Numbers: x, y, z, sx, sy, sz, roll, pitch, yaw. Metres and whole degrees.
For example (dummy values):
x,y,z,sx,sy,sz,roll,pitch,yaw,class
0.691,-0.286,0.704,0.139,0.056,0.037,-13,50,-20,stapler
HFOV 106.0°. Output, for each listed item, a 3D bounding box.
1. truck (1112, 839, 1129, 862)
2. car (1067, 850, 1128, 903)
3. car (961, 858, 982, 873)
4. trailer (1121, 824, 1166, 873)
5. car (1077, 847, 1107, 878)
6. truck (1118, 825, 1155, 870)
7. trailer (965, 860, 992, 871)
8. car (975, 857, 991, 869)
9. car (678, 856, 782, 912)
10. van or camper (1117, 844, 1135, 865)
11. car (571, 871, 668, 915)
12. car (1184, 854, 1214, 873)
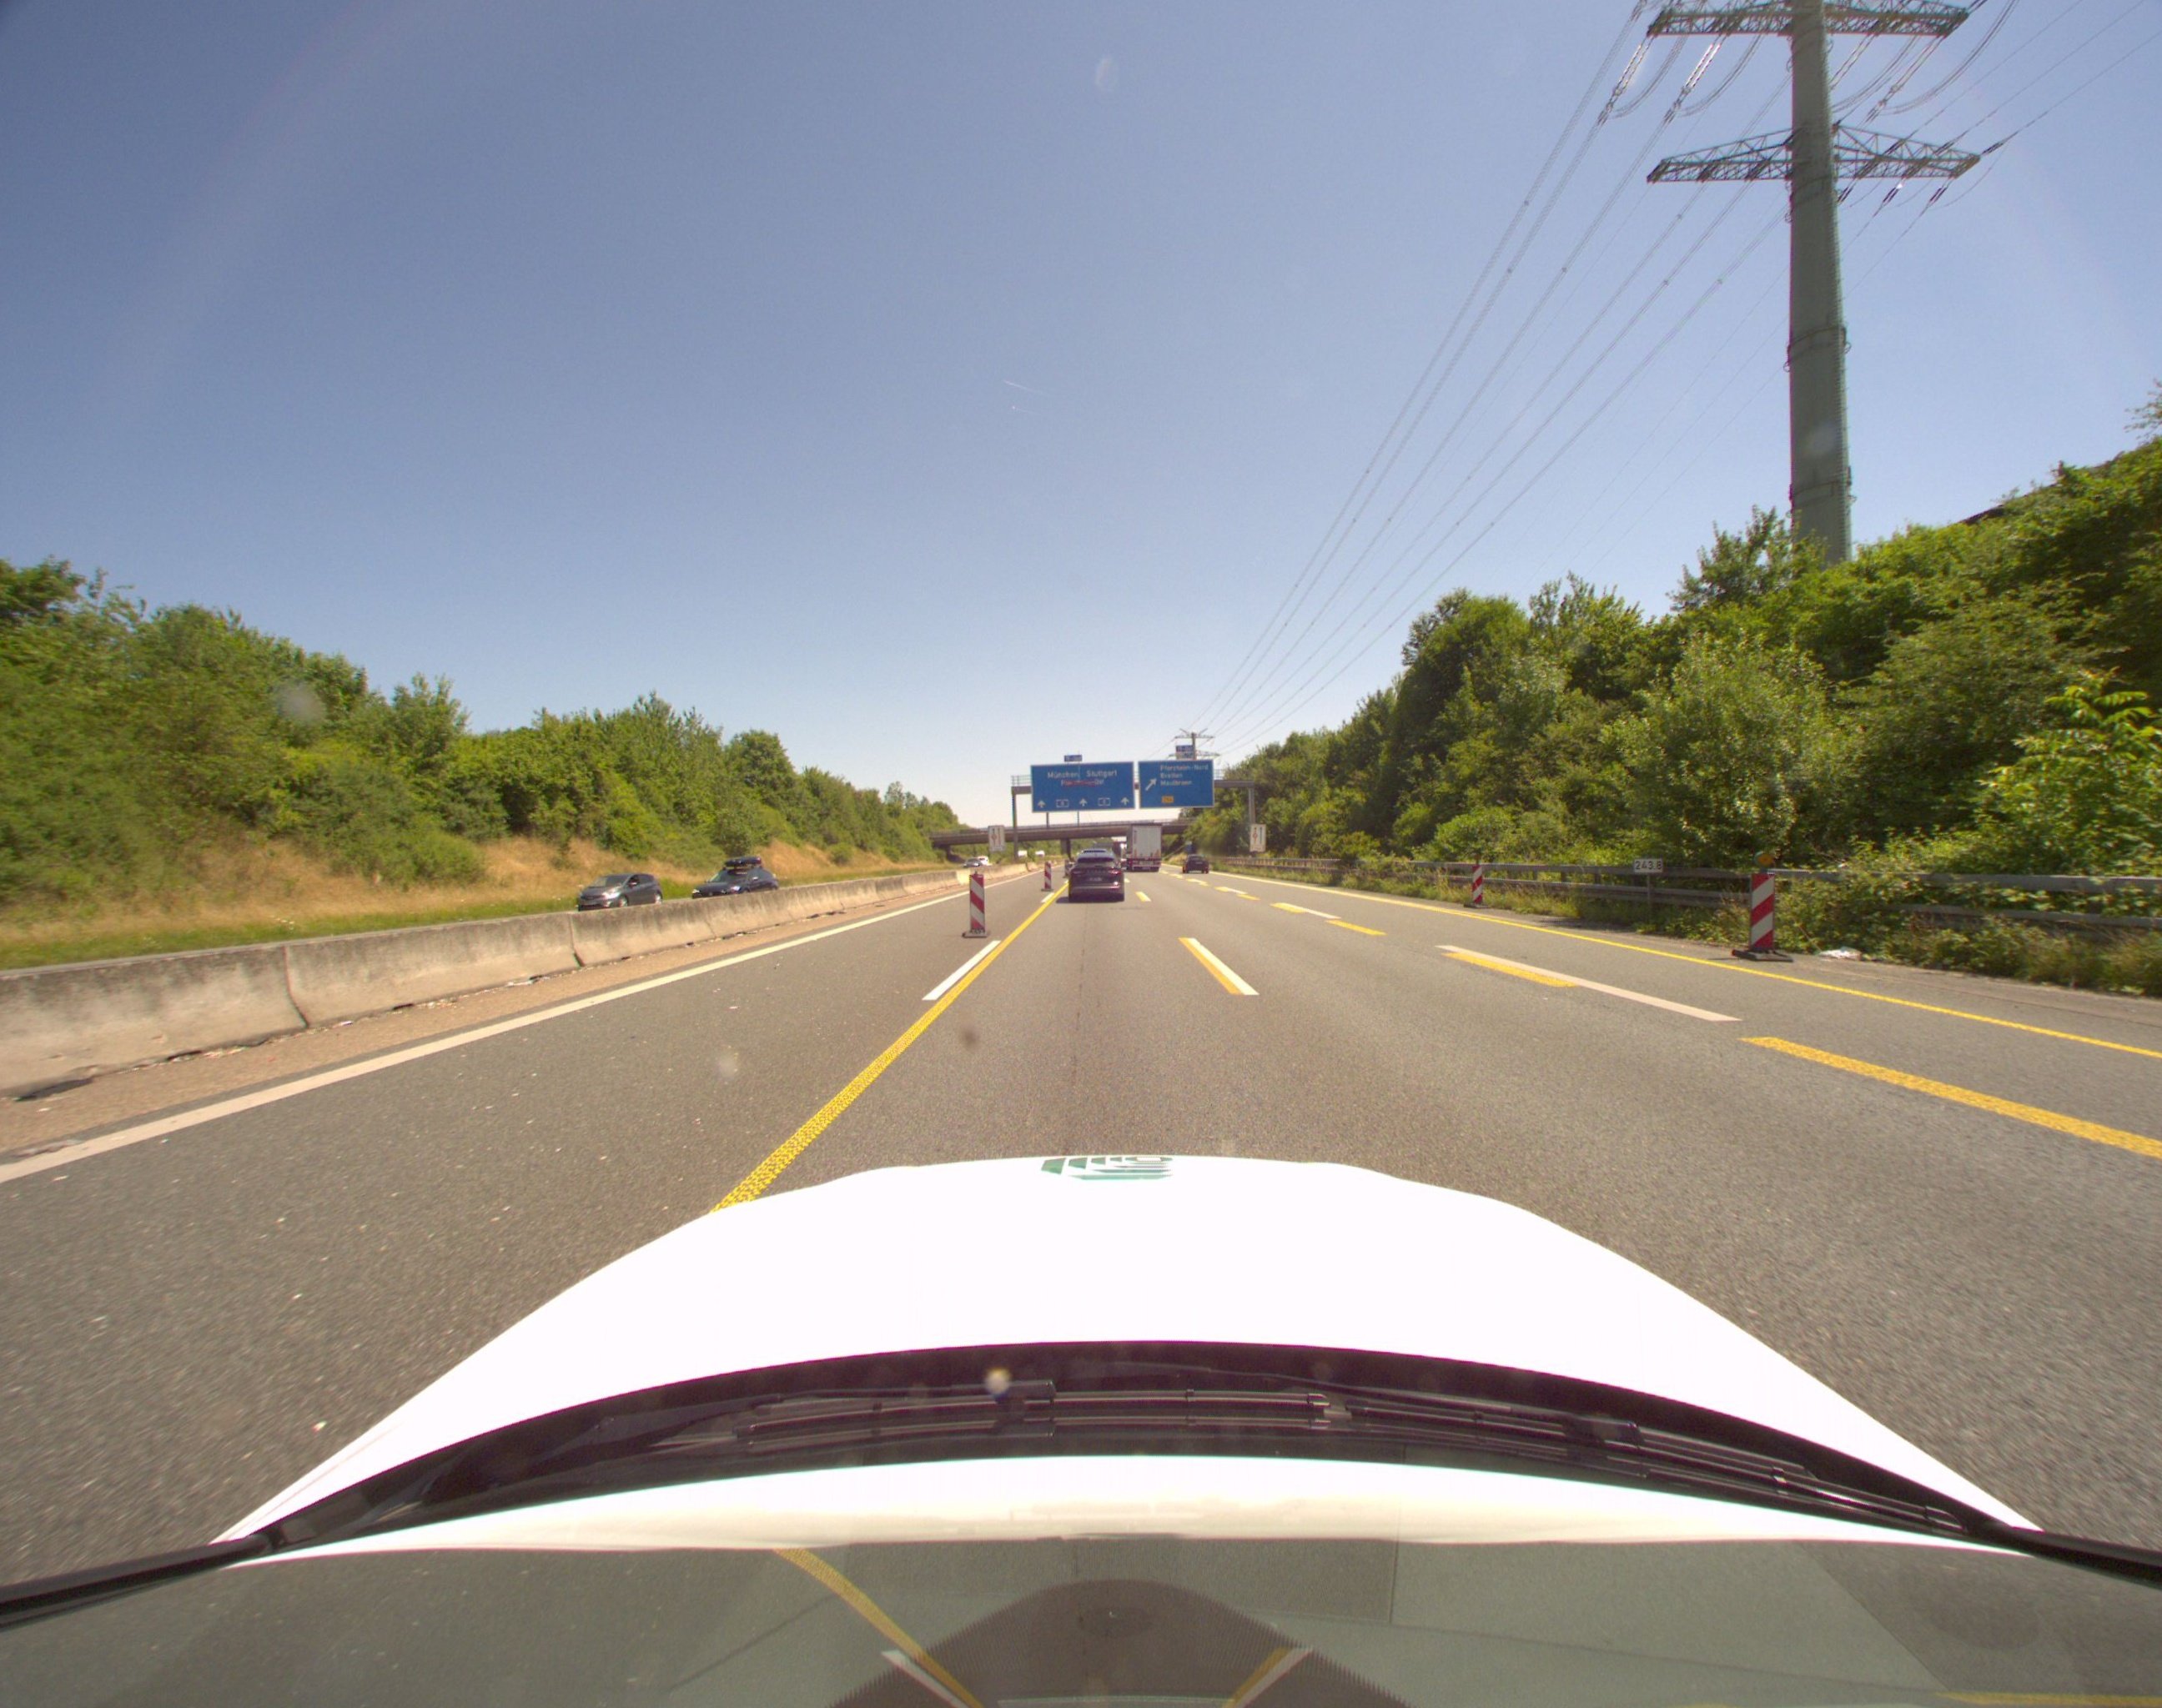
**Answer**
x,y,z,sx,sy,sz,roll,pitch,yaw,class
7.335,-0.697,153.757,3.065,4.146,13.061,0,0,2,truck
0.532,0.696,27.750,1.889,1.592,4.442,-1,0,0,car
-13.425,1.382,100.246,1.906,1.753,4.566,0,0,1,car
5.391,-0.471,72.786,3.055,4.042,11.485,-1,0,0,trailer
0.707,0.499,53.737,1.889,1.841,4.443,1,1,0,car
5.381,-0.584,79.811,3.015,4.087,7.794,-2,0,0,truck
-13.277,1.458,106.183,2.348,1.344,7.218,-2,0,1,trailer
-16.828,1.518,139.622,1.924,2.013,5.597,-2,0,1,car
-12.593,0.999,29.587,1.736,1.818,4.621,-2,0,0,car
6.464,0.098,117.735,2.576,2.968,6.088,0,0,2,van or camper
-18.522,1.516,32.865,1.494,1.548,4.001,-2,0,2,car
9.241,0.734,64.112,1.773,1.489,4.464,0,0,1,car
